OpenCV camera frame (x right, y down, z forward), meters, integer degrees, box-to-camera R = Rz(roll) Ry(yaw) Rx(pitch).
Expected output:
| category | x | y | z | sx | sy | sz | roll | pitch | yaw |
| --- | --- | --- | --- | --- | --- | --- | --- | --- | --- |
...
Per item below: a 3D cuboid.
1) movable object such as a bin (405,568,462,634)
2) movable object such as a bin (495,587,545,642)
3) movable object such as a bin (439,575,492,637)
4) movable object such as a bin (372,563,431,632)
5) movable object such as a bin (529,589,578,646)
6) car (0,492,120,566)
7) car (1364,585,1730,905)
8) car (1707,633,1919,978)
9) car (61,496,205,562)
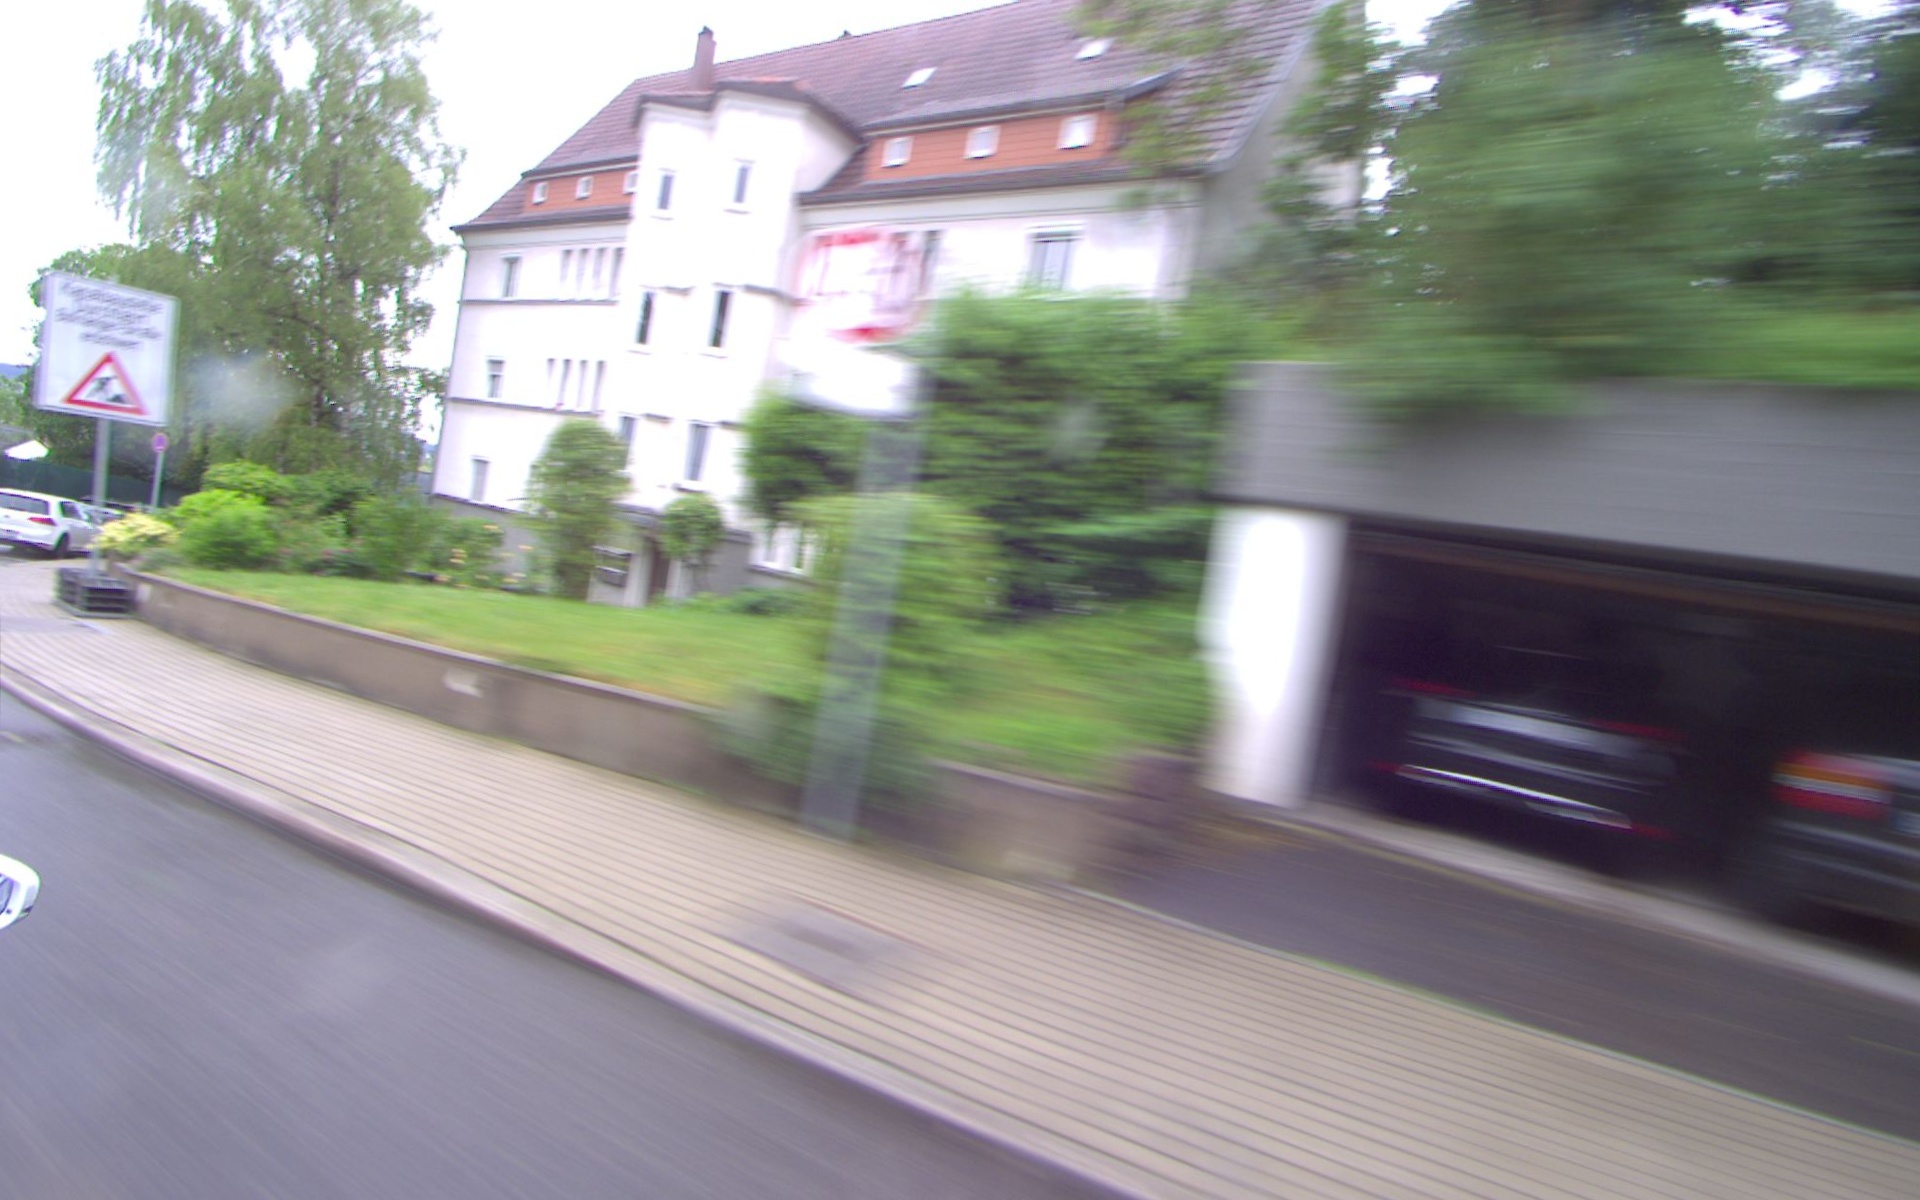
| category | x | y | z | sx | sy | sz | roll | pitch | yaw |
| --- | --- | --- | --- | --- | --- | --- | --- | --- | --- |
| movable object such as a bin | -8.973 | 0.013 | 17.147 | 0.679 | 1.025 | 0.530 | 7 | 0 | 38 |
| movable object such as a bin | -8.046 | 0.259 | 18.389 | 0.679 | 0.909 | 0.482 | 7 | 0 | 38 |
| movable object such as a bin | -8.610 | 0.106 | 17.525 | 0.679 | 0.981 | 0.482 | 7 | 0 | 38 |
| movable object such as a bin | -9.221 | -0.041 | 16.606 | 0.679 | 1.025 | 0.530 | 7 | 0 | 38 |
| movable object such as a bin | -7.590 | 0.321 | 18.766 | 0.679 | 0.954 | 0.482 | 7 | 0 | 38 |
| car | -22.006 | -1.697 | 24.094 | 1.774 | 1.463 | 4.080 | 8 | -1 | -25 |
| car | 4.747 | 0.977 | 8.101 | 1.770 | 1.650 | 3.988 | 12 | 3 | 33 |
| car | 6.291 | 1.310 | 6.682 | 1.644 | 1.696 | 3.782 | 12 | 2 | 33 |
| car | -23.967 | -2.005 | 29.345 | 1.606 | 1.537 | 4.309 | 8 | 0 | -18 |
